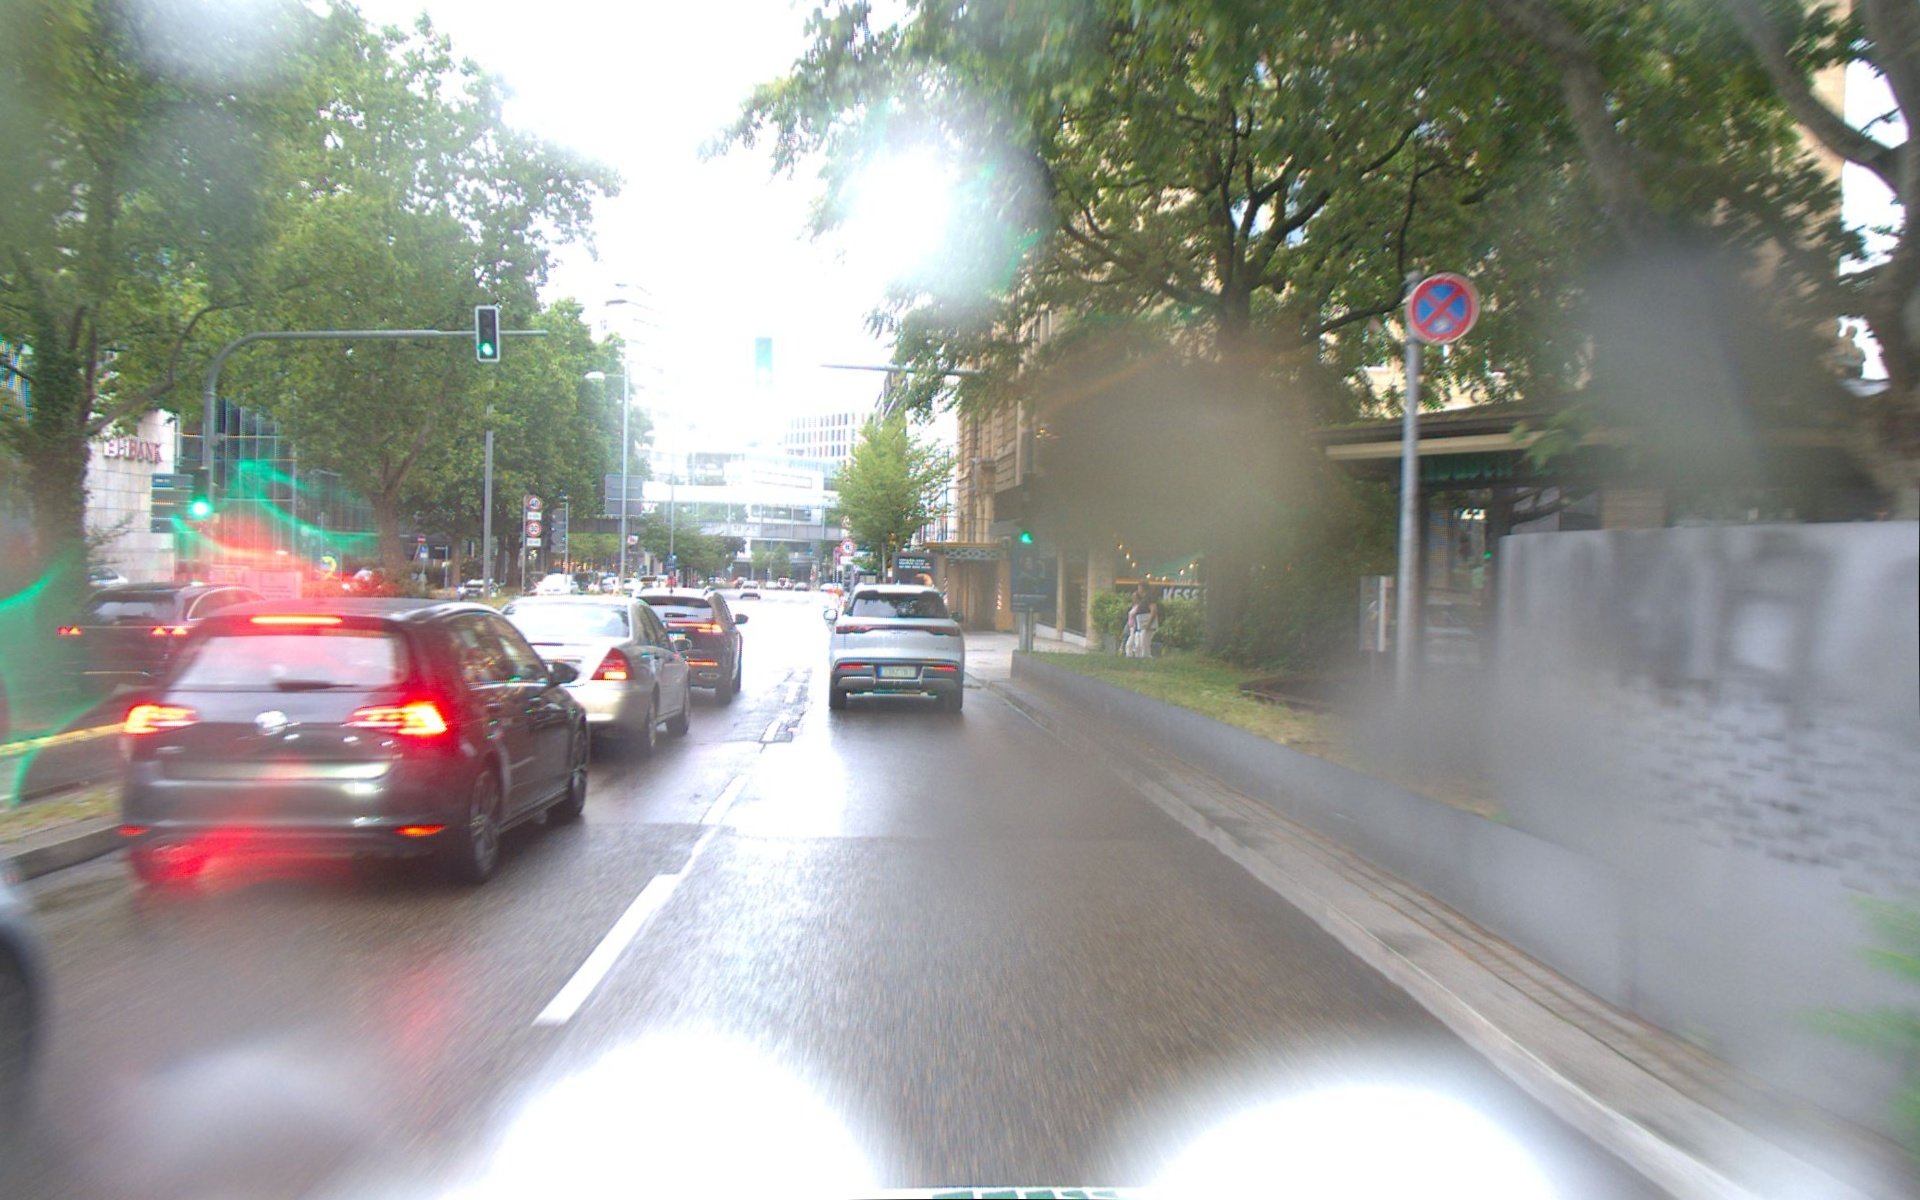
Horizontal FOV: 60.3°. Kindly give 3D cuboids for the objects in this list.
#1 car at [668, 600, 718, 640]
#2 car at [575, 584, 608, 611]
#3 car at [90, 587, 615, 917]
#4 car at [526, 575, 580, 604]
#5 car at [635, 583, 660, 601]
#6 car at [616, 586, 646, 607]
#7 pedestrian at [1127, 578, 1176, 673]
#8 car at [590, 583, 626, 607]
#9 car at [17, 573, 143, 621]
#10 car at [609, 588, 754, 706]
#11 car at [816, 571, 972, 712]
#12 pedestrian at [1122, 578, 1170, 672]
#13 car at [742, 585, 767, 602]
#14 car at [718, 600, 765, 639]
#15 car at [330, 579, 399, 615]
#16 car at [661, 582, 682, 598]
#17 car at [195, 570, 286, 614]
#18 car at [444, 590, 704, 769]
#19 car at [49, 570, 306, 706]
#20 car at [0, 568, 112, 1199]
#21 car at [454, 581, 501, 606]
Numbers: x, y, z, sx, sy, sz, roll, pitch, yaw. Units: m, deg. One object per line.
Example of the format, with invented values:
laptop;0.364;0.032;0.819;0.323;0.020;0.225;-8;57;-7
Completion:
car;-10.639;0.765;66.102;1.658;1.488;4.341;0;0;-5
car;-27.068;-0.207;121.546;1.759;1.943;4.495;0;0;-5
car;-3.190;0.676;9.593;1.657;1.488;4.128;0;0;-2
car;-21.365;-0.554;87.037;2.117;1.488;4.341;0;0;-5
car;-27.542;-0.710;146.008;1.759;1.536;4.341;0;0;-5
car;-24.710;-0.298;124.319;1.759;1.536;4.495;0;0;-5
pedestrian;3.708;0.489;32.080;0.841;1.811;0.718;1;-1;1
car;-22.643;-0.333;106.551;1.759;1.536;4.495;0;0;-5
car;-28.308;-0.079;53.363;1.653;1.427;4.240;1;0;2
car;-3.820;0.580;23.269;1.658;1.488;4.341;0;0;-5
car;-0.915;0.526;23.083;1.908;1.695;4.343;2;0;-2
pedestrian;3.694;0.493;32.837;0.841;1.811;0.718;1;-1;1
car;-17.455;-0.558;140.608;1.940;1.488;4.340;0;0;-5
car;-8.724;0.765;66.205;1.658;1.488;4.341;0;0;-5
car;-26.033;-0.131;72.444;1.759;1.536;4.495;0;0;-5
car;-29.362;-1.004;168.625;1.759;1.536;4.341;0;0;-5
car;-28.903;-0.305;66.599;1.653;1.671;4.240;1;0;2
car;-3.579;0.653;16.085;1.657;1.488;4.343;0;0;-2
car;-10.435;0.452;22.380;1.665;1.648;3.999;1;1;-2
car;-3.034;0.692;2.735;1.558;1.517;3.503;0;0;-2
car;-28.325;-0.383;97.129;1.812;1.390;4.235;1;0;-5
